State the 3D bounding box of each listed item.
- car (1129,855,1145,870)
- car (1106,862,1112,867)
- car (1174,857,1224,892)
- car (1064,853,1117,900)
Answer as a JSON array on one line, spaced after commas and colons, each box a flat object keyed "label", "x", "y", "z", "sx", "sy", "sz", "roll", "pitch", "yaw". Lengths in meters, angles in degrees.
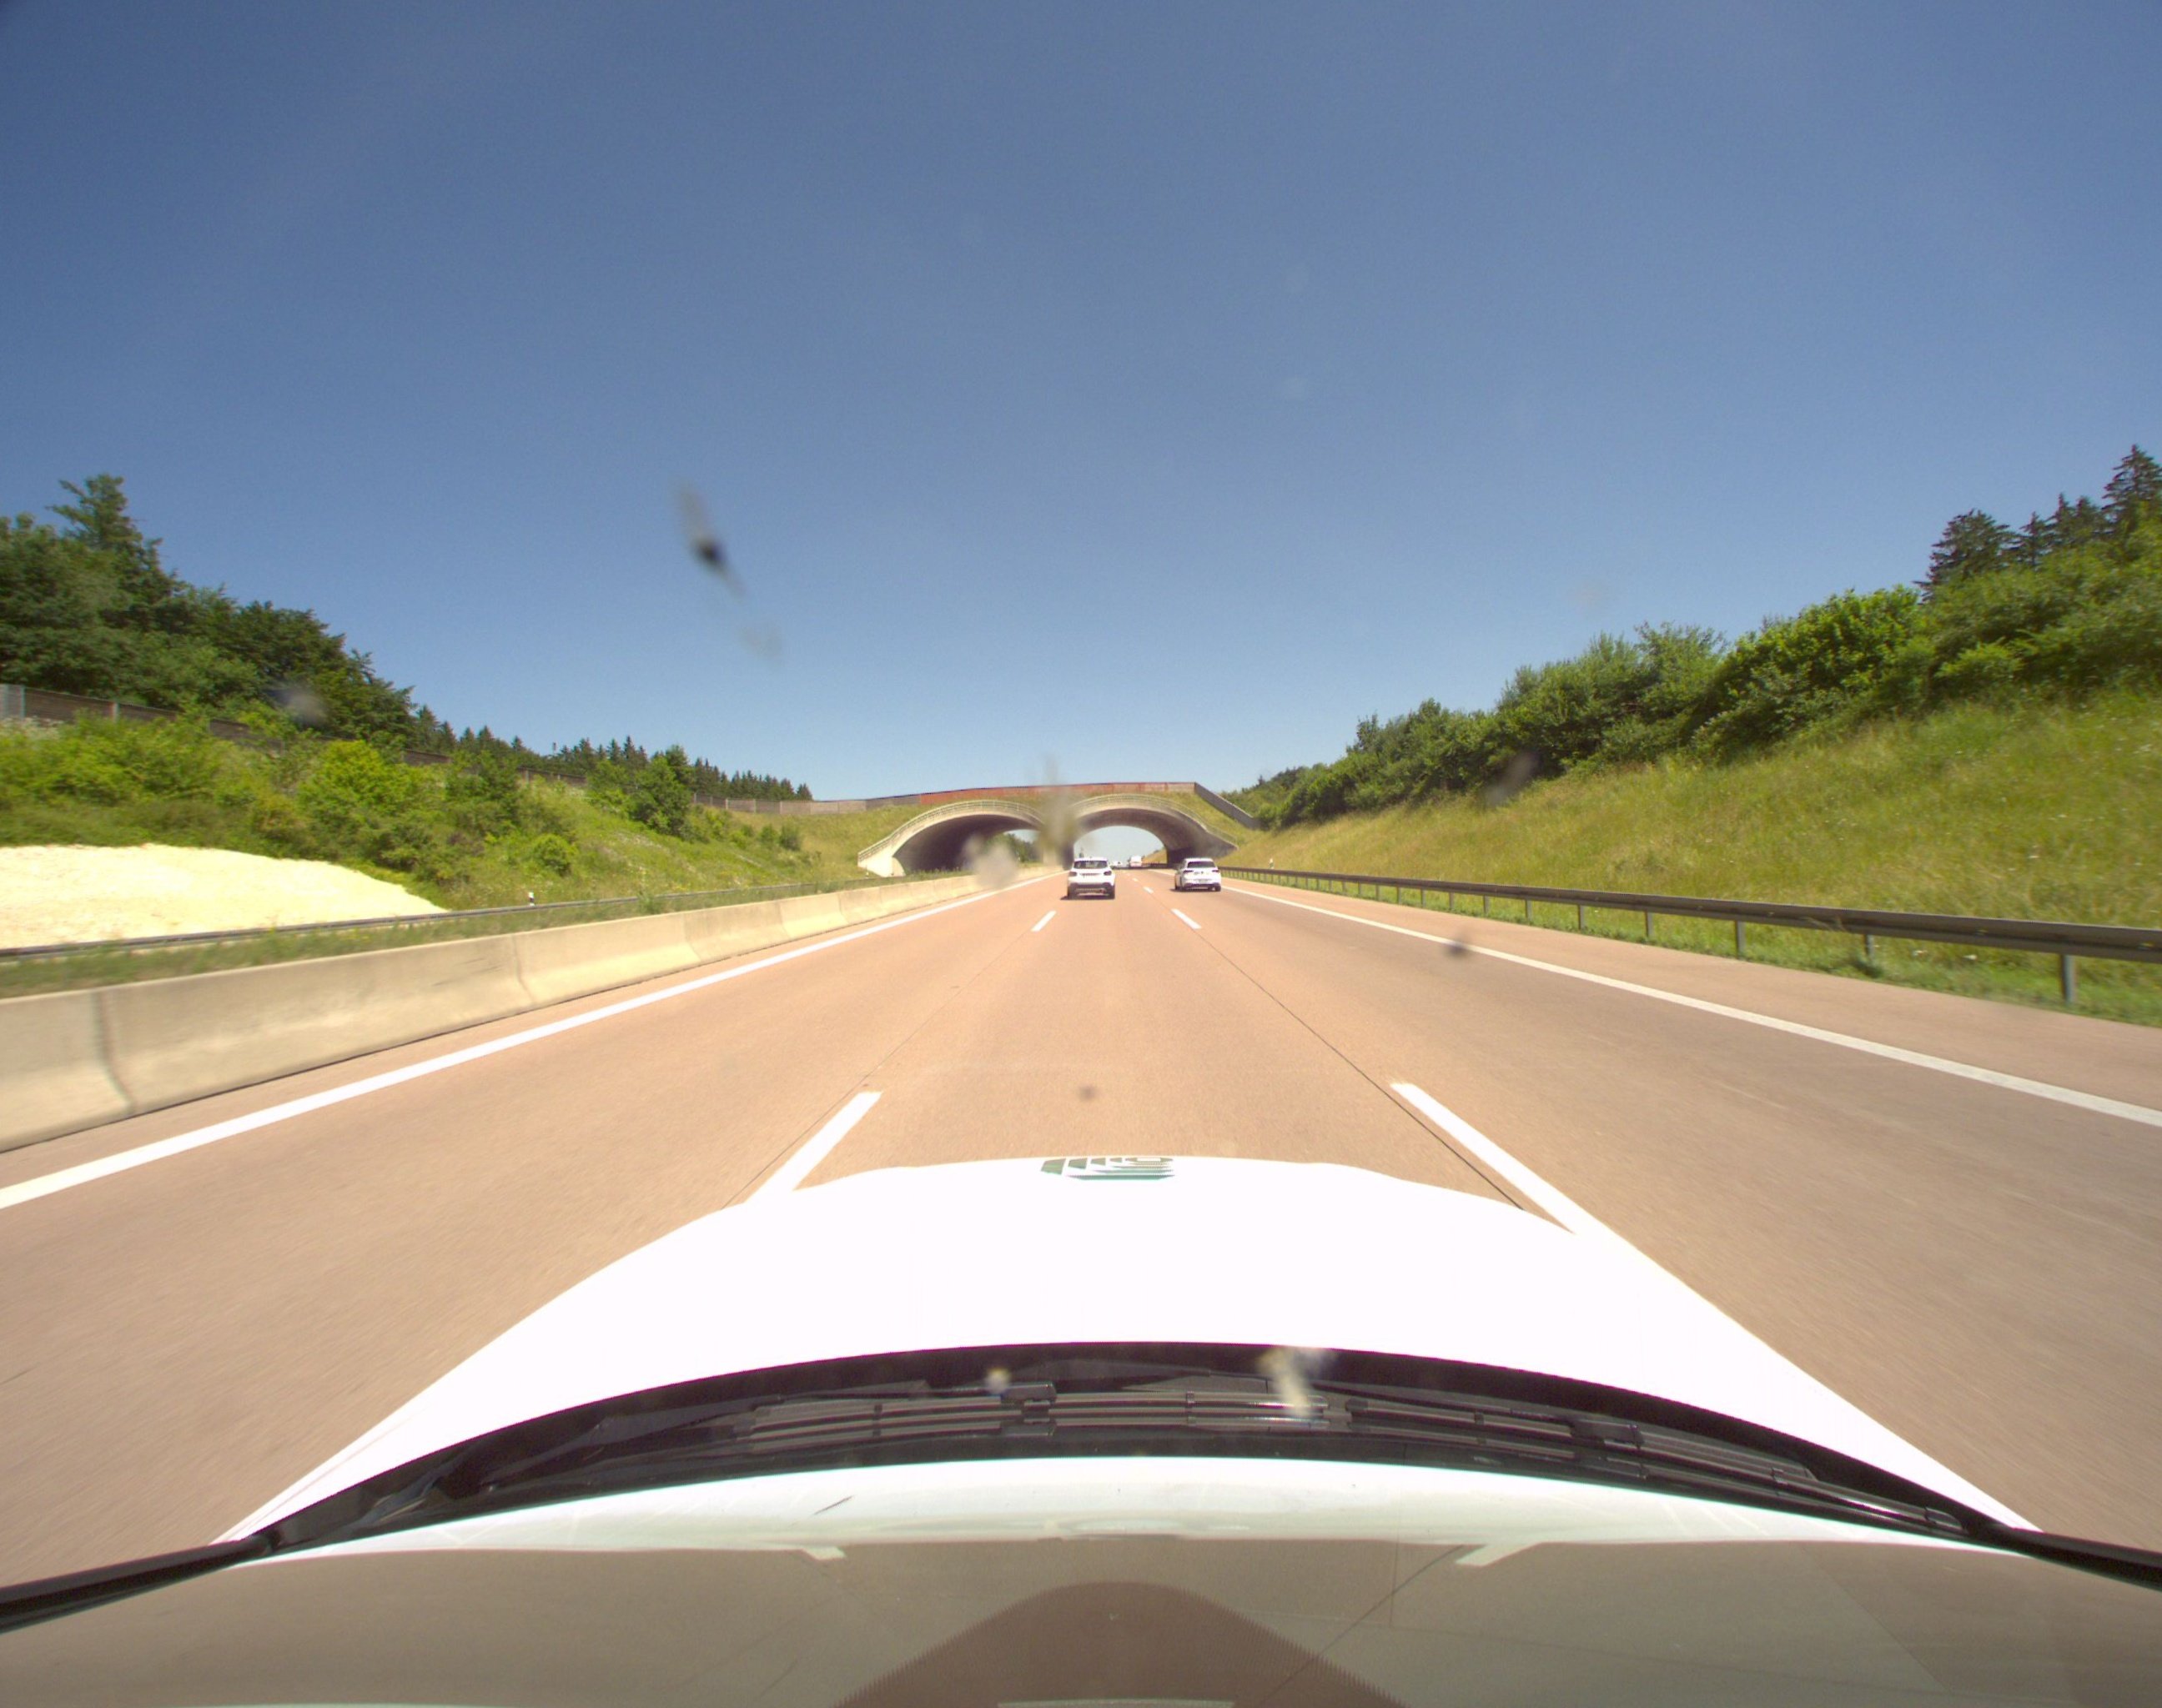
[{"label": "car", "x": 7.962, "y": 1.197, "z": 115.854, "sx": 2.101, "sy": 2.053, "sz": 4.004, "roll": -1, "pitch": 1, "yaw": 4}, {"label": "car", "x": 8.531, "y": 3.211, "z": 250.465, "sx": 1.883, "sy": 1.463, "sz": 4.002, "roll": 0, "pitch": 0, "yaw": 2}, {"label": "car", "x": 5.211, "y": 0.858, "z": 36.431, "sx": 1.882, "sy": 1.398, "sz": 4.004, "roll": 0, "pitch": 1, "yaw": 4}, {"label": "car", "x": 0.425, "y": 0.815, "z": 31.616, "sx": 1.872, "sy": 1.607, "sz": 4.836, "roll": -1, "pitch": 0, "yaw": 2}]
